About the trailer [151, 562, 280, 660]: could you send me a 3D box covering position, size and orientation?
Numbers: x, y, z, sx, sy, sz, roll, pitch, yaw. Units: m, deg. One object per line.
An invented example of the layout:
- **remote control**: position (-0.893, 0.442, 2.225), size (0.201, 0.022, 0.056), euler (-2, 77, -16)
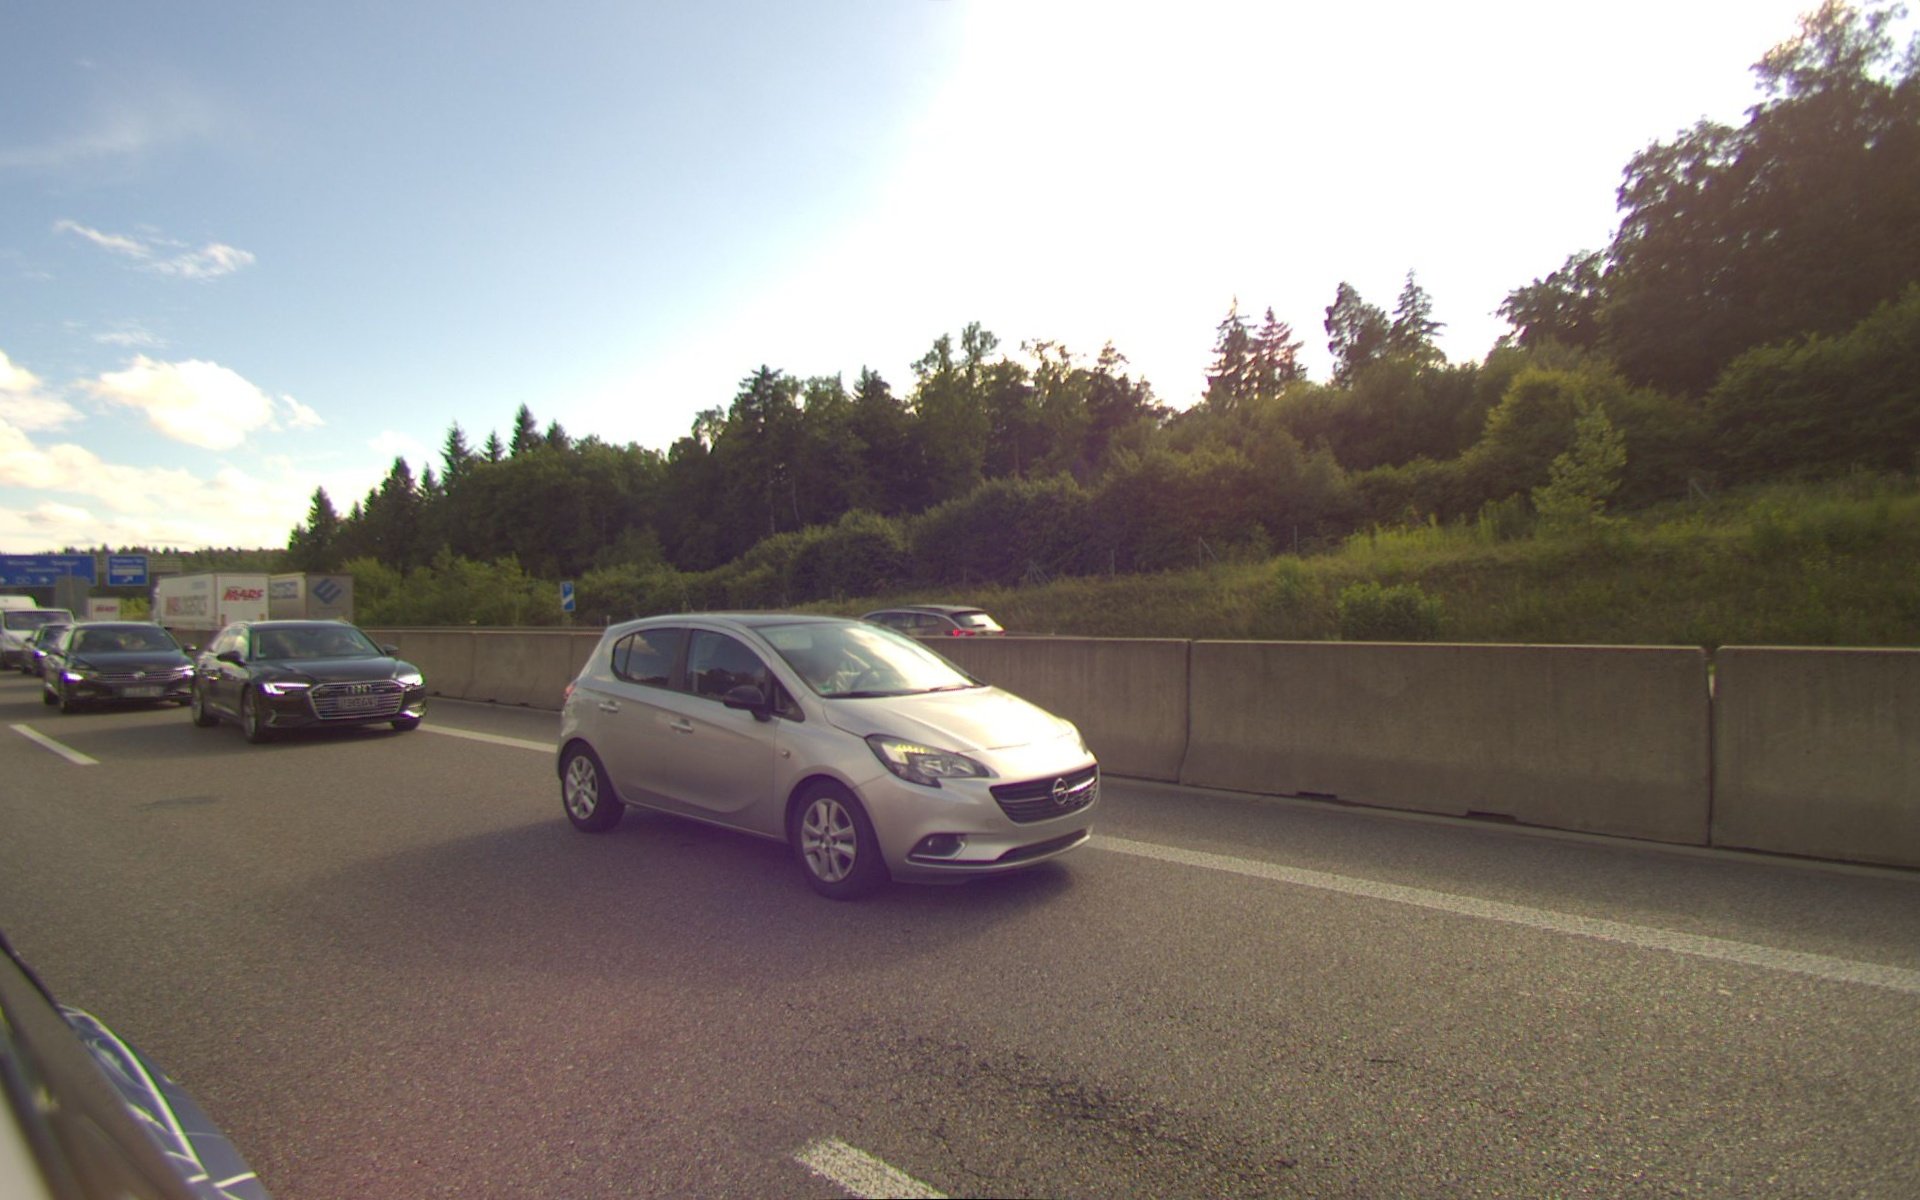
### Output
- **trailer**: position (-43.548, 0.643, 58.903), size (13.827, 5.112, 3.056), euler (-1, 0, 41)

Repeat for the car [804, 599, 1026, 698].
- **car**: position (-1.030, 0.944, 21.066), size (4.622, 1.823, 1.833), euler (-2, -1, 41)

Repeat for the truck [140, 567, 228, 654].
- **truck**: position (-48.636, 0.632, 63.362), size (7.138, 5.139, 3.056), euler (-1, 0, 41)

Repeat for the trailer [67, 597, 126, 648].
- **trailer**: position (-95.154, 2.402, 111.419), size (13.829, 5.320, 3.010), euler (-1, 0, 41)

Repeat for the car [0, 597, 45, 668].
- **car**: position (-37.229, 1.251, 39.226), size (5.860, 2.592, 2.027), euler (-2, -2, 42)

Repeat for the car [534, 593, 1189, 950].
- **car**: position (-0.836, 0.765, 6.208), size (4.039, 1.477, 1.728), euler (-2, -2, 42)

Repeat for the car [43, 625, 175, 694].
- **car**: position (-20.225, 1.338, 23.979), size (4.665, 1.442, 1.785), euler (-2, -1, 42)

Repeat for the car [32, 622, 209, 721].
- **car**: position (-14.703, 1.144, 17.635), size (4.569, 1.488, 1.890), euler (-2, -1, 44)

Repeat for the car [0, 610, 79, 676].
- **car**: position (-30.572, 1.379, 33.222), size (4.846, 1.980, 1.922), euler (-2, -1, 42)

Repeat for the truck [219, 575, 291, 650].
- **truck**: position (-47.861, 0.856, 68.665), size (4.763, 4.895, 2.901), euler (-1, 0, 41)

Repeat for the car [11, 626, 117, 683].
- **car**: position (-25.255, 1.478, 28.486), size (3.993, 1.442, 1.785), euler (-2, -1, 42)

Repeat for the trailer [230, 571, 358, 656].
- **trailer**: position (-42.061, 0.835, 63.553), size (14.647, 4.866, 2.896), euler (-1, 0, 41)

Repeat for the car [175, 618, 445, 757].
- **car**: position (-8.771, 1.018, 13.464), size (4.851, 1.483, 1.862), euler (-2, -1, 43)
